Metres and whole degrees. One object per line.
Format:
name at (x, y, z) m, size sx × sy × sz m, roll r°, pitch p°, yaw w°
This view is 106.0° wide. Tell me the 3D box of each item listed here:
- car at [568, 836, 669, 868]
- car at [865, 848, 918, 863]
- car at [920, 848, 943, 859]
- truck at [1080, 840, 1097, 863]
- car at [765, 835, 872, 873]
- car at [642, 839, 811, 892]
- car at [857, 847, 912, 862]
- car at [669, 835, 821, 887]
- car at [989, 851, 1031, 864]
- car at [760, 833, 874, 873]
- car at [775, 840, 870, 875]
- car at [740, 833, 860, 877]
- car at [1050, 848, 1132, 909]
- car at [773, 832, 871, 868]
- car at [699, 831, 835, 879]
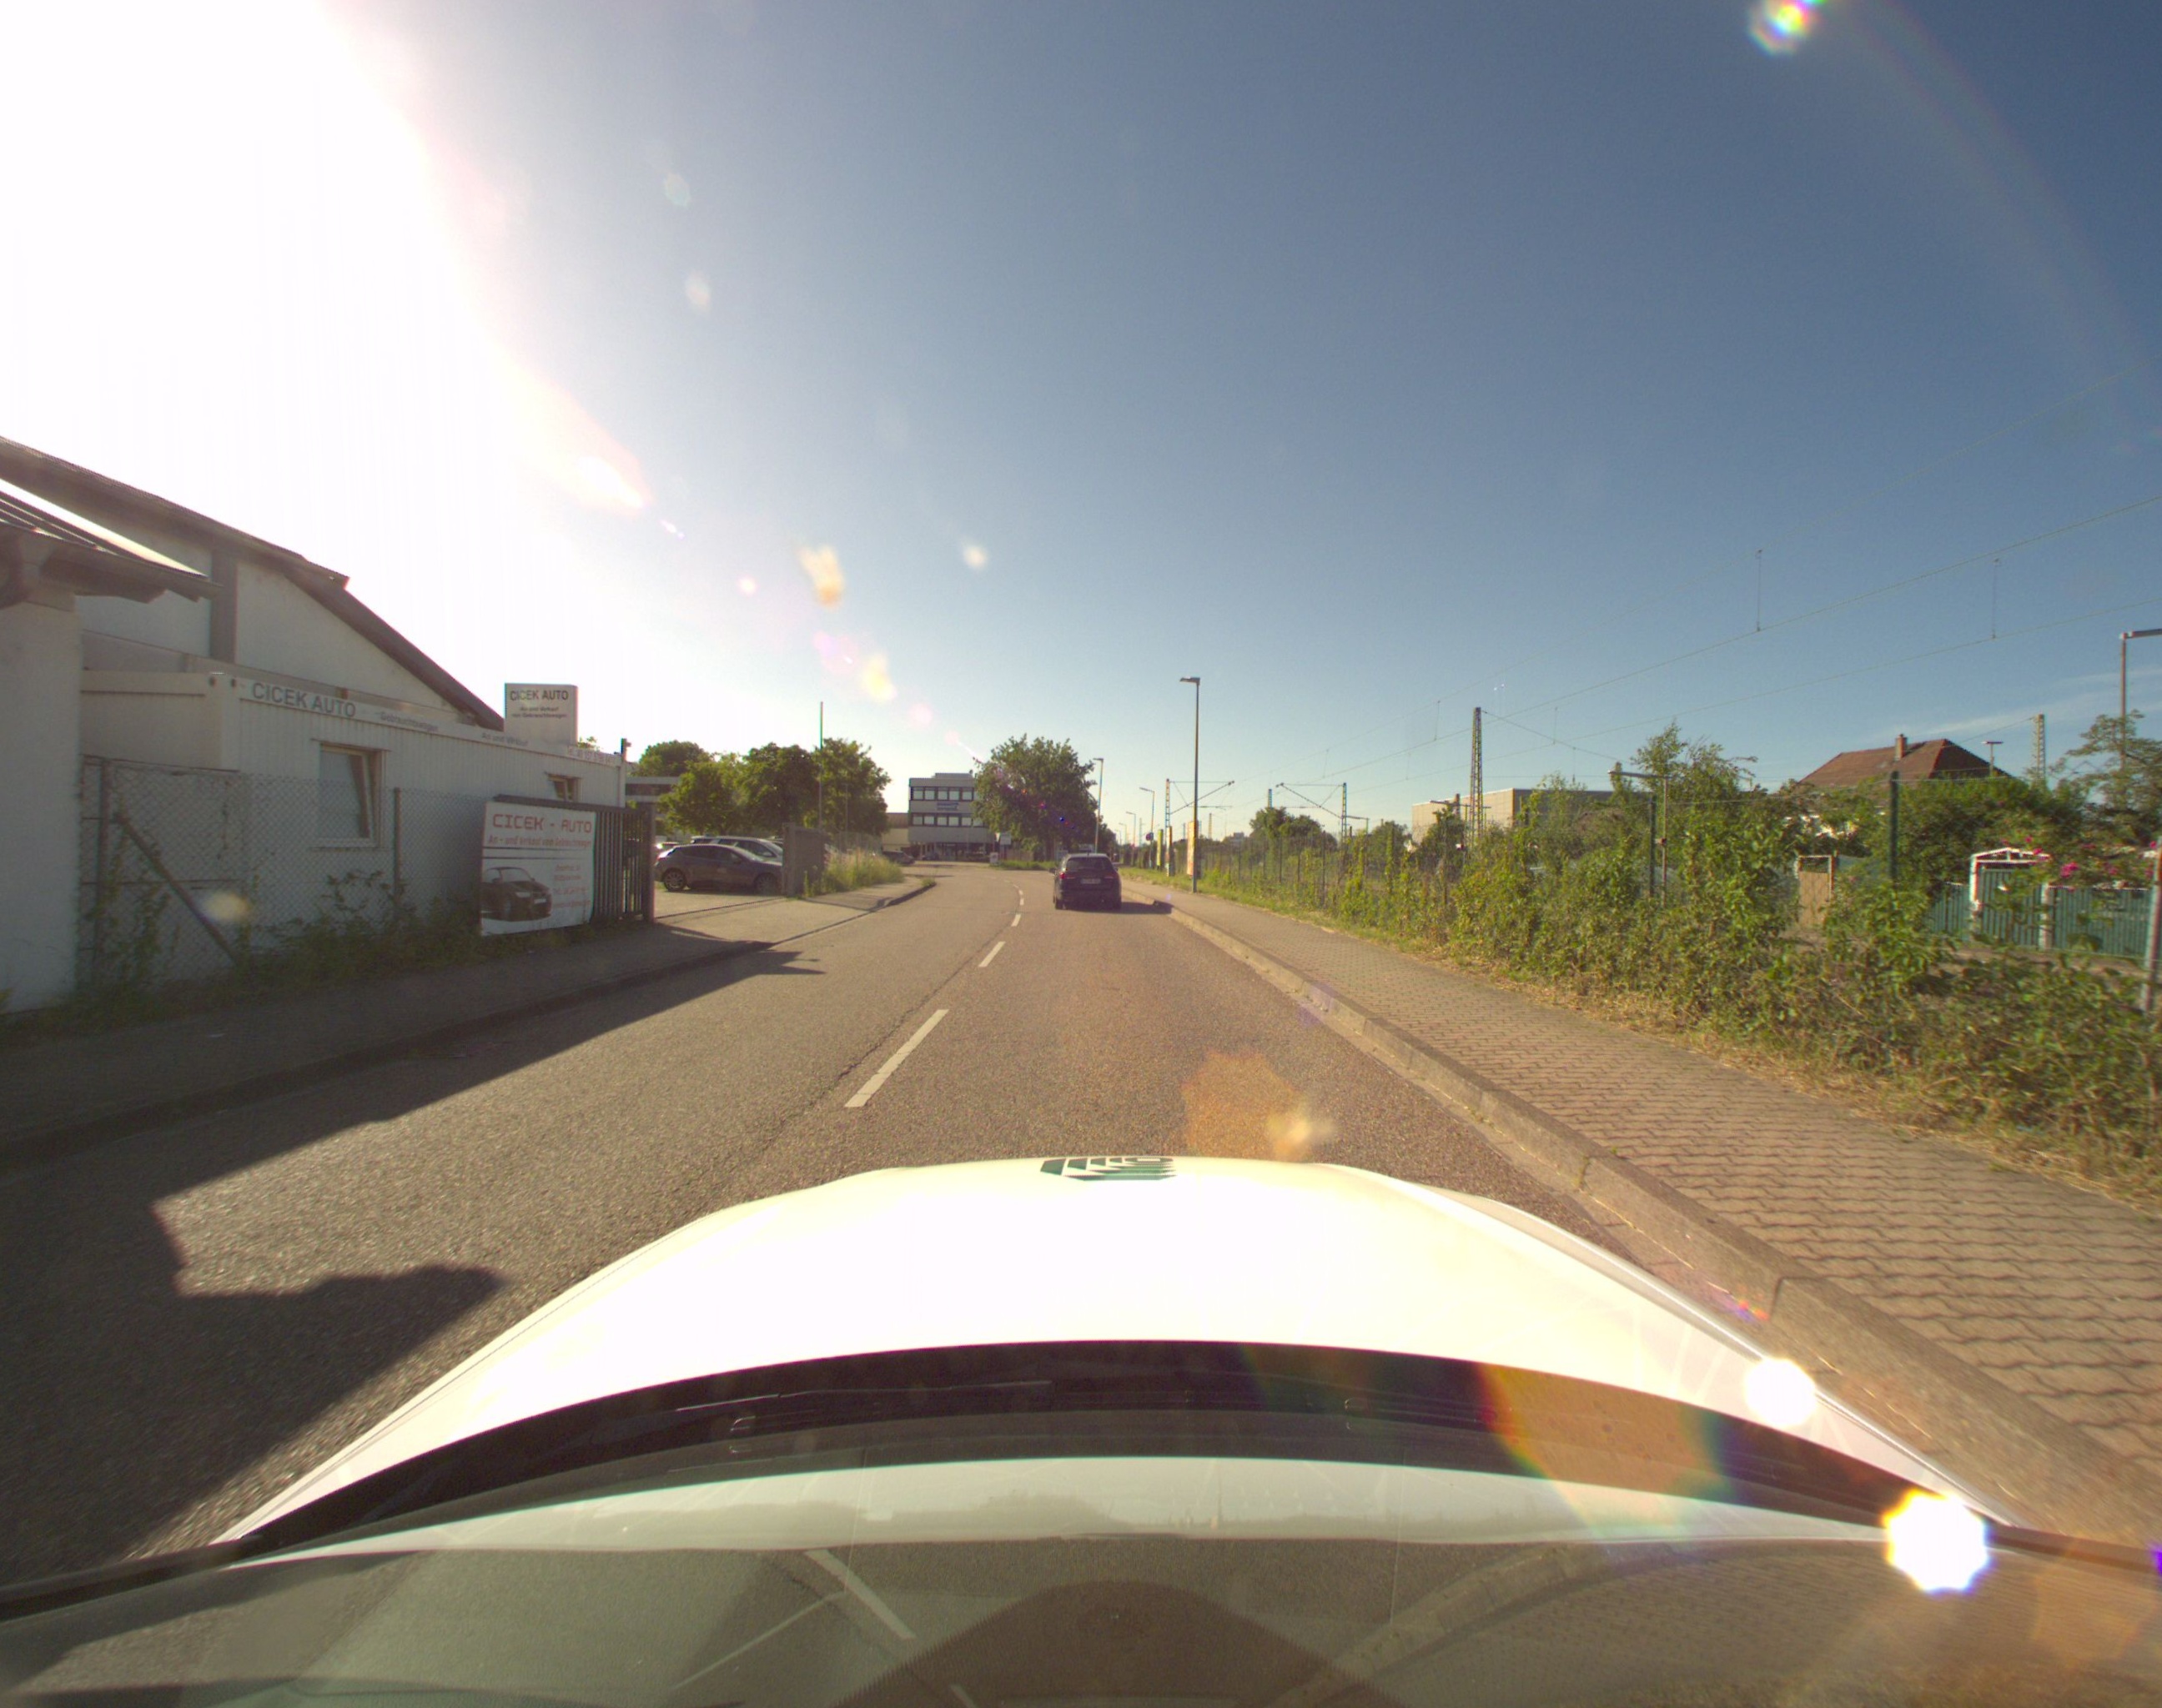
car at (-25.197, -0.112, 44.476) m, size 4.385 × 1.648 × 1.836 m, roll 1°, pitch 0°, yaw -7°
car at (-19.528, 0.126, 83.931) m, size 4.893 × 1.484 × 2.000 m, roll 1°, pitch 0°, yaw 0°
car at (-20.693, -0.062, 112.864) m, size 1.984 × 1.484 × 4.933 m, roll 1°, pitch 1°, yaw 4°
truck at (1.258, -0.437, 145.383) m, size 2.605 × 3.885 × 13.528 m, roll 2°, pitch 0°, yaw 0°
car at (-12.086, 0.023, 37.606) m, size 4.417 × 1.648 × 1.822 m, roll 1°, pitch 0°, yaw -31°
car at (-10.881, 0.343, 25.252) m, size 4.382 × 1.507 × 1.837 m, roll 1°, pitch 0°, yaw -5°
car at (-19.600, 0.029, 81.329) m, size 4.893 × 1.426 × 2.000 m, roll 1°, pitch 0°, yaw 0°
car at (-11.250, 0.221, 27.558) m, size 4.388 × 1.648 × 1.835 m, roll 1°, pitch 0°, yaw -9°
car at (-8.821, 0.370, 101.200) m, size 4.886 × 1.484 × 2.003 m, roll 1°, pitch 1°, yaw 5°
car at (-11.478, -0.007, 35.473) m, size 4.417 × 1.648 × 1.822 m, roll 1°, pitch 0°, yaw -31°
car at (-12.763, 0.158, 40.301) m, size 4.403 × 1.648 × 1.829 m, roll 1°, pitch 0°, yaw -19°
car at (-11.257, 0.048, 32.937) m, size 4.395 × 1.648 × 1.832 m, roll 1°, pitch 0°, yaw -14°
car at (0.166, 0.610, 22.872) m, size 1.938 × 1.488 × 4.559 m, roll 0°, pitch 1°, yaw -4°
car at (-14.355, -0.214, 45.226) m, size 4.871 × 1.892 × 1.821 m, roll 1°, pitch 0°, yaw -35°
car at (-11.439, 0.053, 29.971) m, size 4.391 × 1.648 × 1.833 m, roll 1°, pitch 0°, yaw -11°
